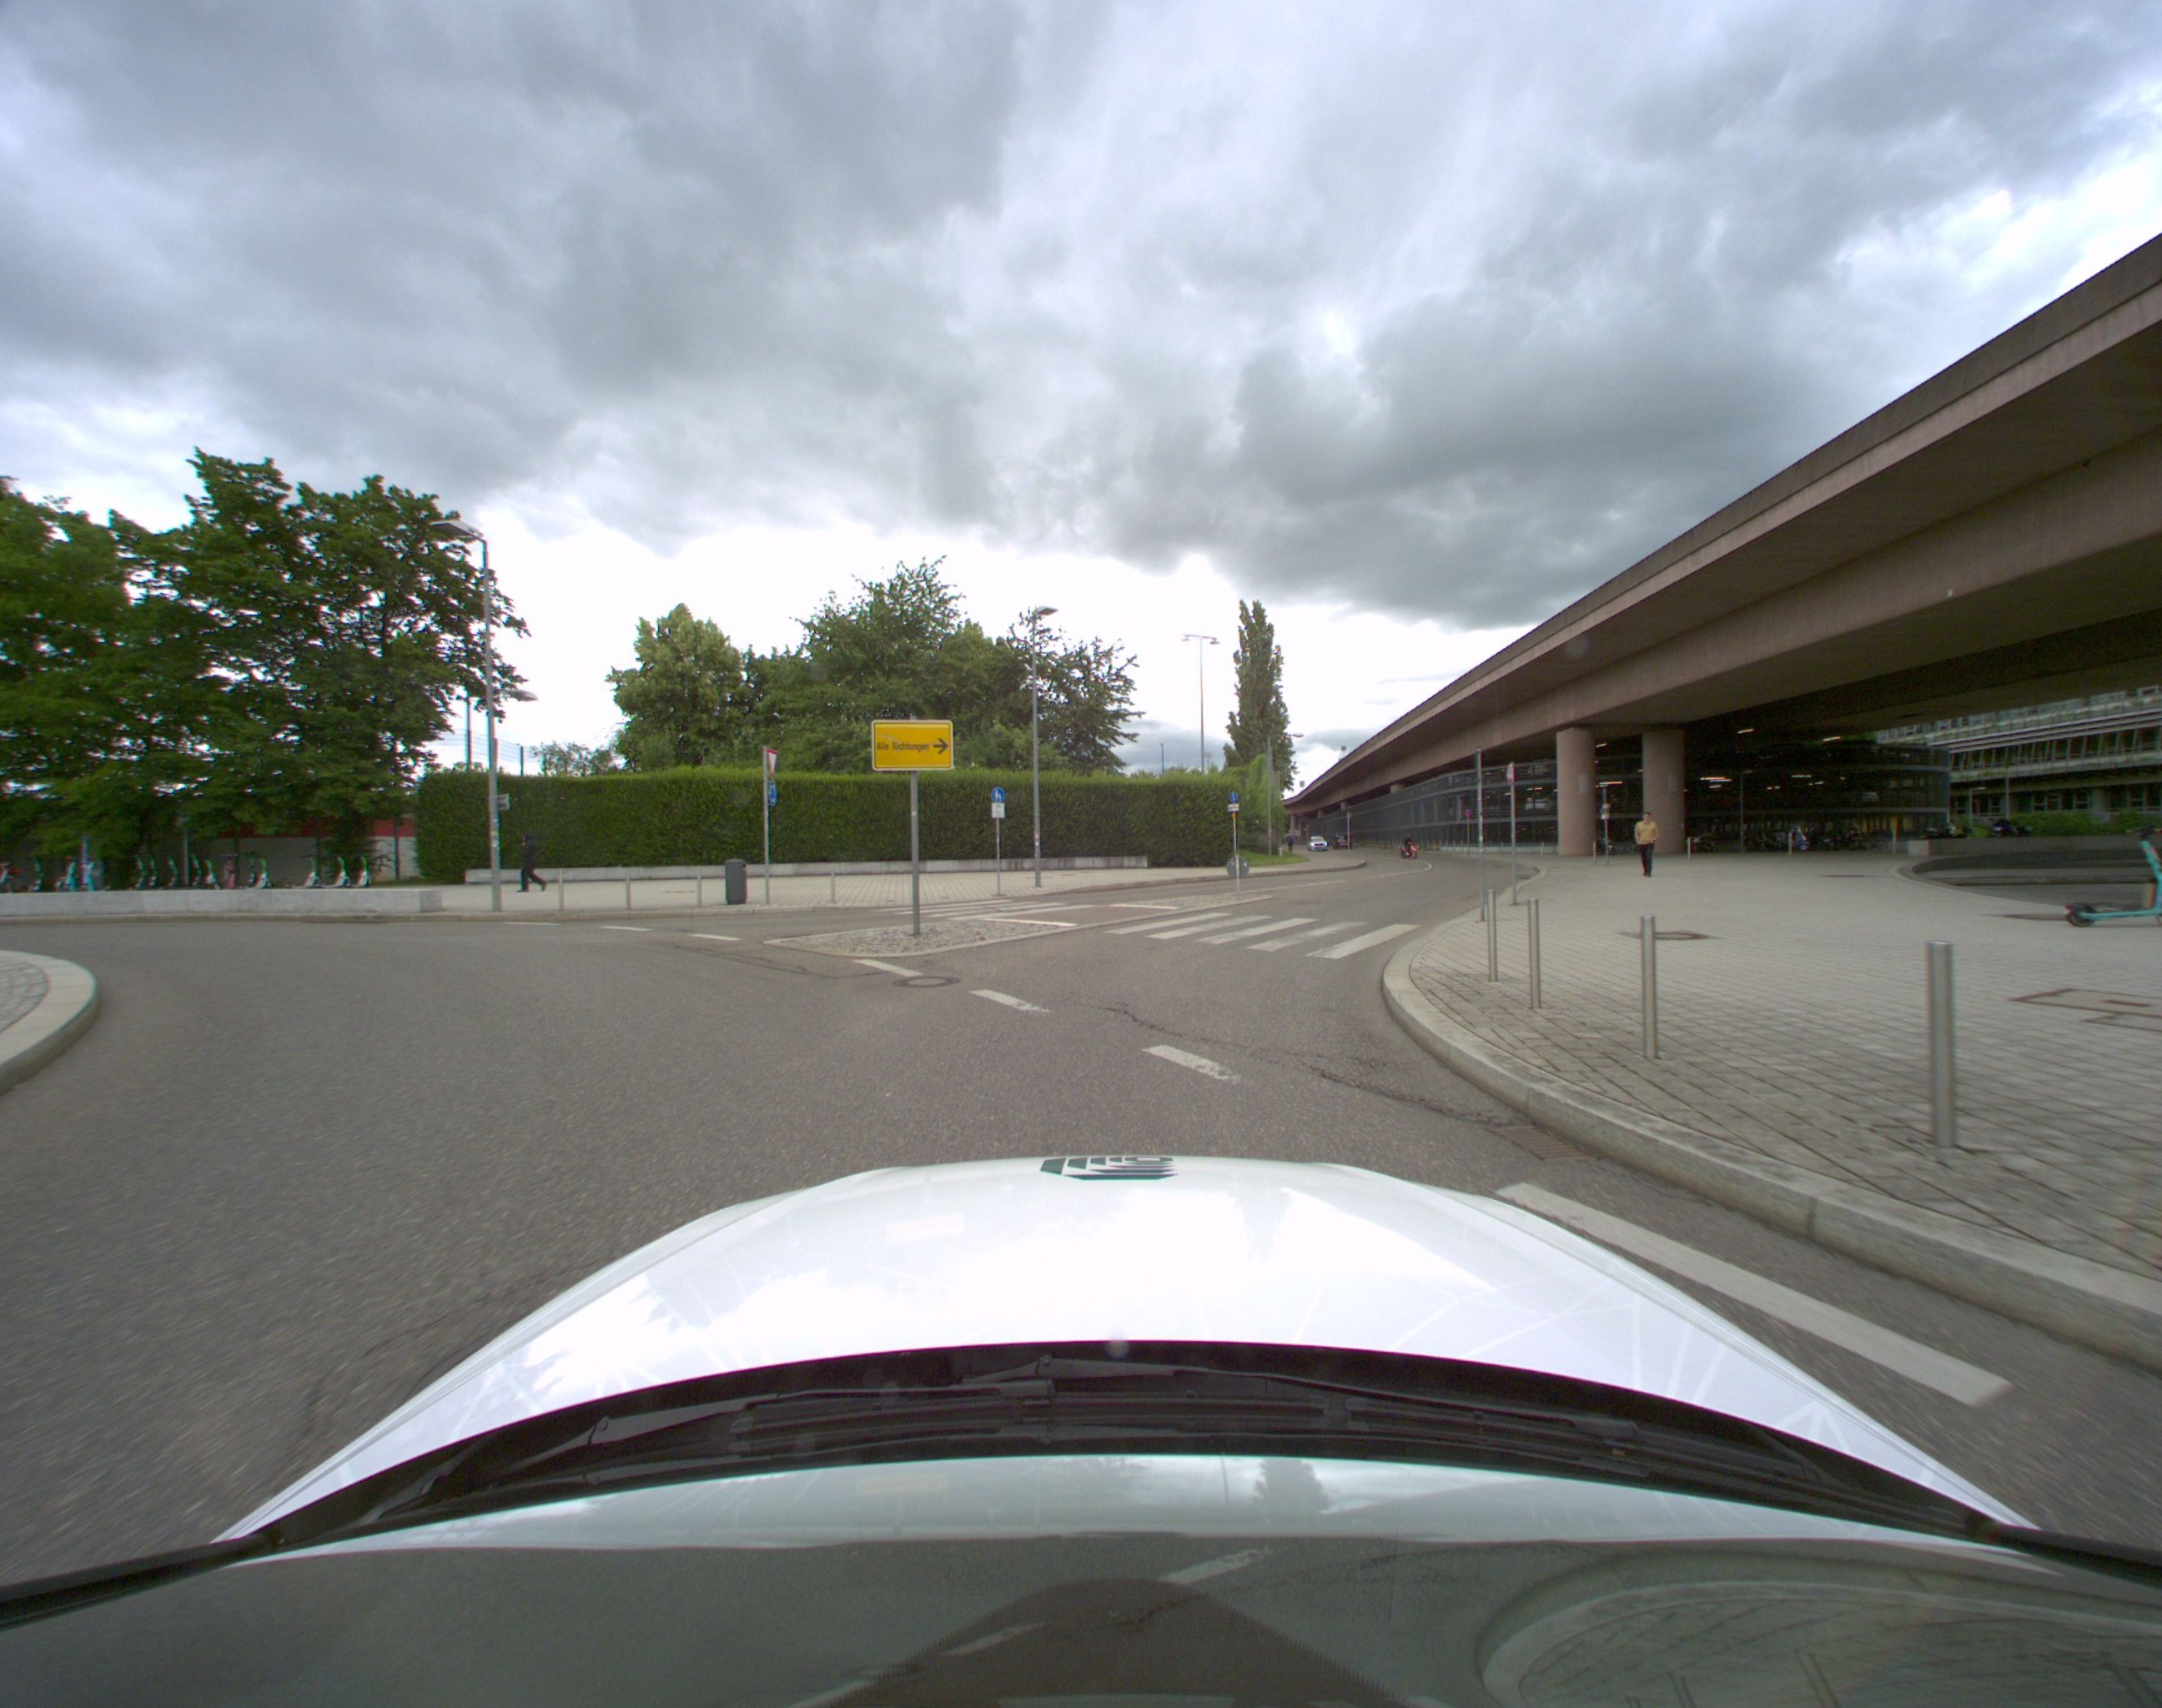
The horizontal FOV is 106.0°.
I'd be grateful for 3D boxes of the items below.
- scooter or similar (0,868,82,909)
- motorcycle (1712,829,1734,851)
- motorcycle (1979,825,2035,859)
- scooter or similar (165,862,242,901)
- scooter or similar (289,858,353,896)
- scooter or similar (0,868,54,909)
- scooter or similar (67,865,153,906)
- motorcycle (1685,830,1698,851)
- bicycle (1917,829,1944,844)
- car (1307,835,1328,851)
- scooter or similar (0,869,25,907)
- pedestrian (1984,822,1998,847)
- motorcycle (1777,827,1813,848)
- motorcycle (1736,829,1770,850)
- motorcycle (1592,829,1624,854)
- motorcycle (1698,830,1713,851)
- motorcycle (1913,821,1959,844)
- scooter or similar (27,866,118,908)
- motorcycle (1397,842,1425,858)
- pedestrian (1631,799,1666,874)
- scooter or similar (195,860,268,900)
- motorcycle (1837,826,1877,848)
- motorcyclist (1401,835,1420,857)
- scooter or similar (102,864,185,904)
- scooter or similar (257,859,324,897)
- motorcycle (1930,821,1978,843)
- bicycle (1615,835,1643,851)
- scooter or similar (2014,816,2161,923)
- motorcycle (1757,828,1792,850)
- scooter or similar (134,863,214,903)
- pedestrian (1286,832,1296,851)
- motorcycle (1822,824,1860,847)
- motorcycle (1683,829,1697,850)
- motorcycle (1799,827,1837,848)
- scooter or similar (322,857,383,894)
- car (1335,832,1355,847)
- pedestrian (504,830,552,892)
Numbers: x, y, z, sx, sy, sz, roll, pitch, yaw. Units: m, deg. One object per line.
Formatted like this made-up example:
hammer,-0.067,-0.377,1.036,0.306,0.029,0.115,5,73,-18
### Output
scooter or similar,-31.361,1.017,24.451,0.639,1.109,1.965,-2,2,-15
motorcycle,38.213,-0.825,48.506,0.822,1.220,2.092,-1,2,33
motorcycle,35.895,-0.471,31.567,1.935,1.264,0.546,-2,2,-11
scooter or similar,-27.512,0.843,25.576,0.639,1.109,1.965,-2,2,-15
scooter or similar,-24.645,0.726,26.461,0.639,1.109,1.965,-2,2,-15
scooter or similar,-32.014,1.037,24.276,0.639,1.109,1.965,-2,2,-15
scooter or similar,-29.711,0.938,24.959,0.639,1.109,1.965,-2,2,-15
motorcycle,36.493,-0.803,48.667,0.515,1.220,1.157,-1,2,41
bicycle,51.685,-1.073,49.549,1.503,0.895,0.473,-2,2,-15
car,27.145,-1.240,93.563,1.853,1.683,4.418,-2,2,9
scooter or similar,-32.668,1.060,24.095,0.639,1.109,1.965,-2,2,-15
pedestrian,73.678,-1.611,65.947,0.523,2.013,0.577,0,0,19
motorcycle,42.164,-0.980,48.147,0.667,1.220,2.086,-2,2,12
motorcycle,40.118,-0.886,48.663,0.667,1.220,2.086,-2,2,12
motorcycle,31.071,-0.757,48.020,0.640,1.454,1.760,-2,2,-4
motorcycle,35.242,-0.731,45.960,1.156,1.171,0.516,0,0,-43
motorcycle,49.951,-1.273,47.604,0.667,1.275,2.372,-2,2,12
scooter or similar,-30.545,0.978,24.710,0.639,1.109,1.965,-2,2,-15
motorcycle,21.938,-0.279,54.249,0.747,1.022,1.948,-2,2,-13
pedestrian,15.754,-0.483,22.615,0.774,2.013,1.046,-1,2,35
scooter or similar,-26.843,0.796,25.784,0.639,1.109,1.965,-2,2,-15
motorcycle,45.267,-1.029,47.523,0.667,1.220,2.086,-2,2,12
motorcyclist,21.937,-0.552,54.192,0.762,1.419,0.866,-2,2,-13
scooter or similar,-28.933,0.905,25.175,0.639,1.109,1.965,-2,2,-15
scooter or similar,-25.414,0.749,26.232,0.639,1.109,1.965,-2,2,-15
motorcycle,51.367,-1.323,47.946,0.667,1.220,2.372,-2,2,12
bicycle,35.284,-0.728,52.478,1.458,0.976,0.455,-1,2,37
scooter or similar,12.974,0.186,10.193,1.629,1.295,0.522,-1,2,26
motorcycle,41.133,-0.916,48.324,0.667,1.220,2.086,-2,2,12
scooter or similar,-28.188,0.868,25.361,0.639,1.109,1.965,-2,2,-15
pedestrian,19.501,-1.165,75.569,0.798,1.780,0.924,-2,2,14
motorcycle,44.458,-1.089,47.658,0.667,1.285,2.086,-2,2,12
motorcycle,37.341,-0.886,49.913,0.515,1.220,1.157,-1,2,29
motorcycle,43.202,-0.975,47.754,0.667,1.220,2.086,-2,2,12
scooter or similar,-23.834,0.684,26.689,0.639,1.109,1.965,-2,2,-15
car,32.051,-1.772,99.017,1.827,1.711,3.718,-2,2,12
pedestrian,-16.569,0.204,24.420,0.862,1.807,0.791,-2,2,-9
